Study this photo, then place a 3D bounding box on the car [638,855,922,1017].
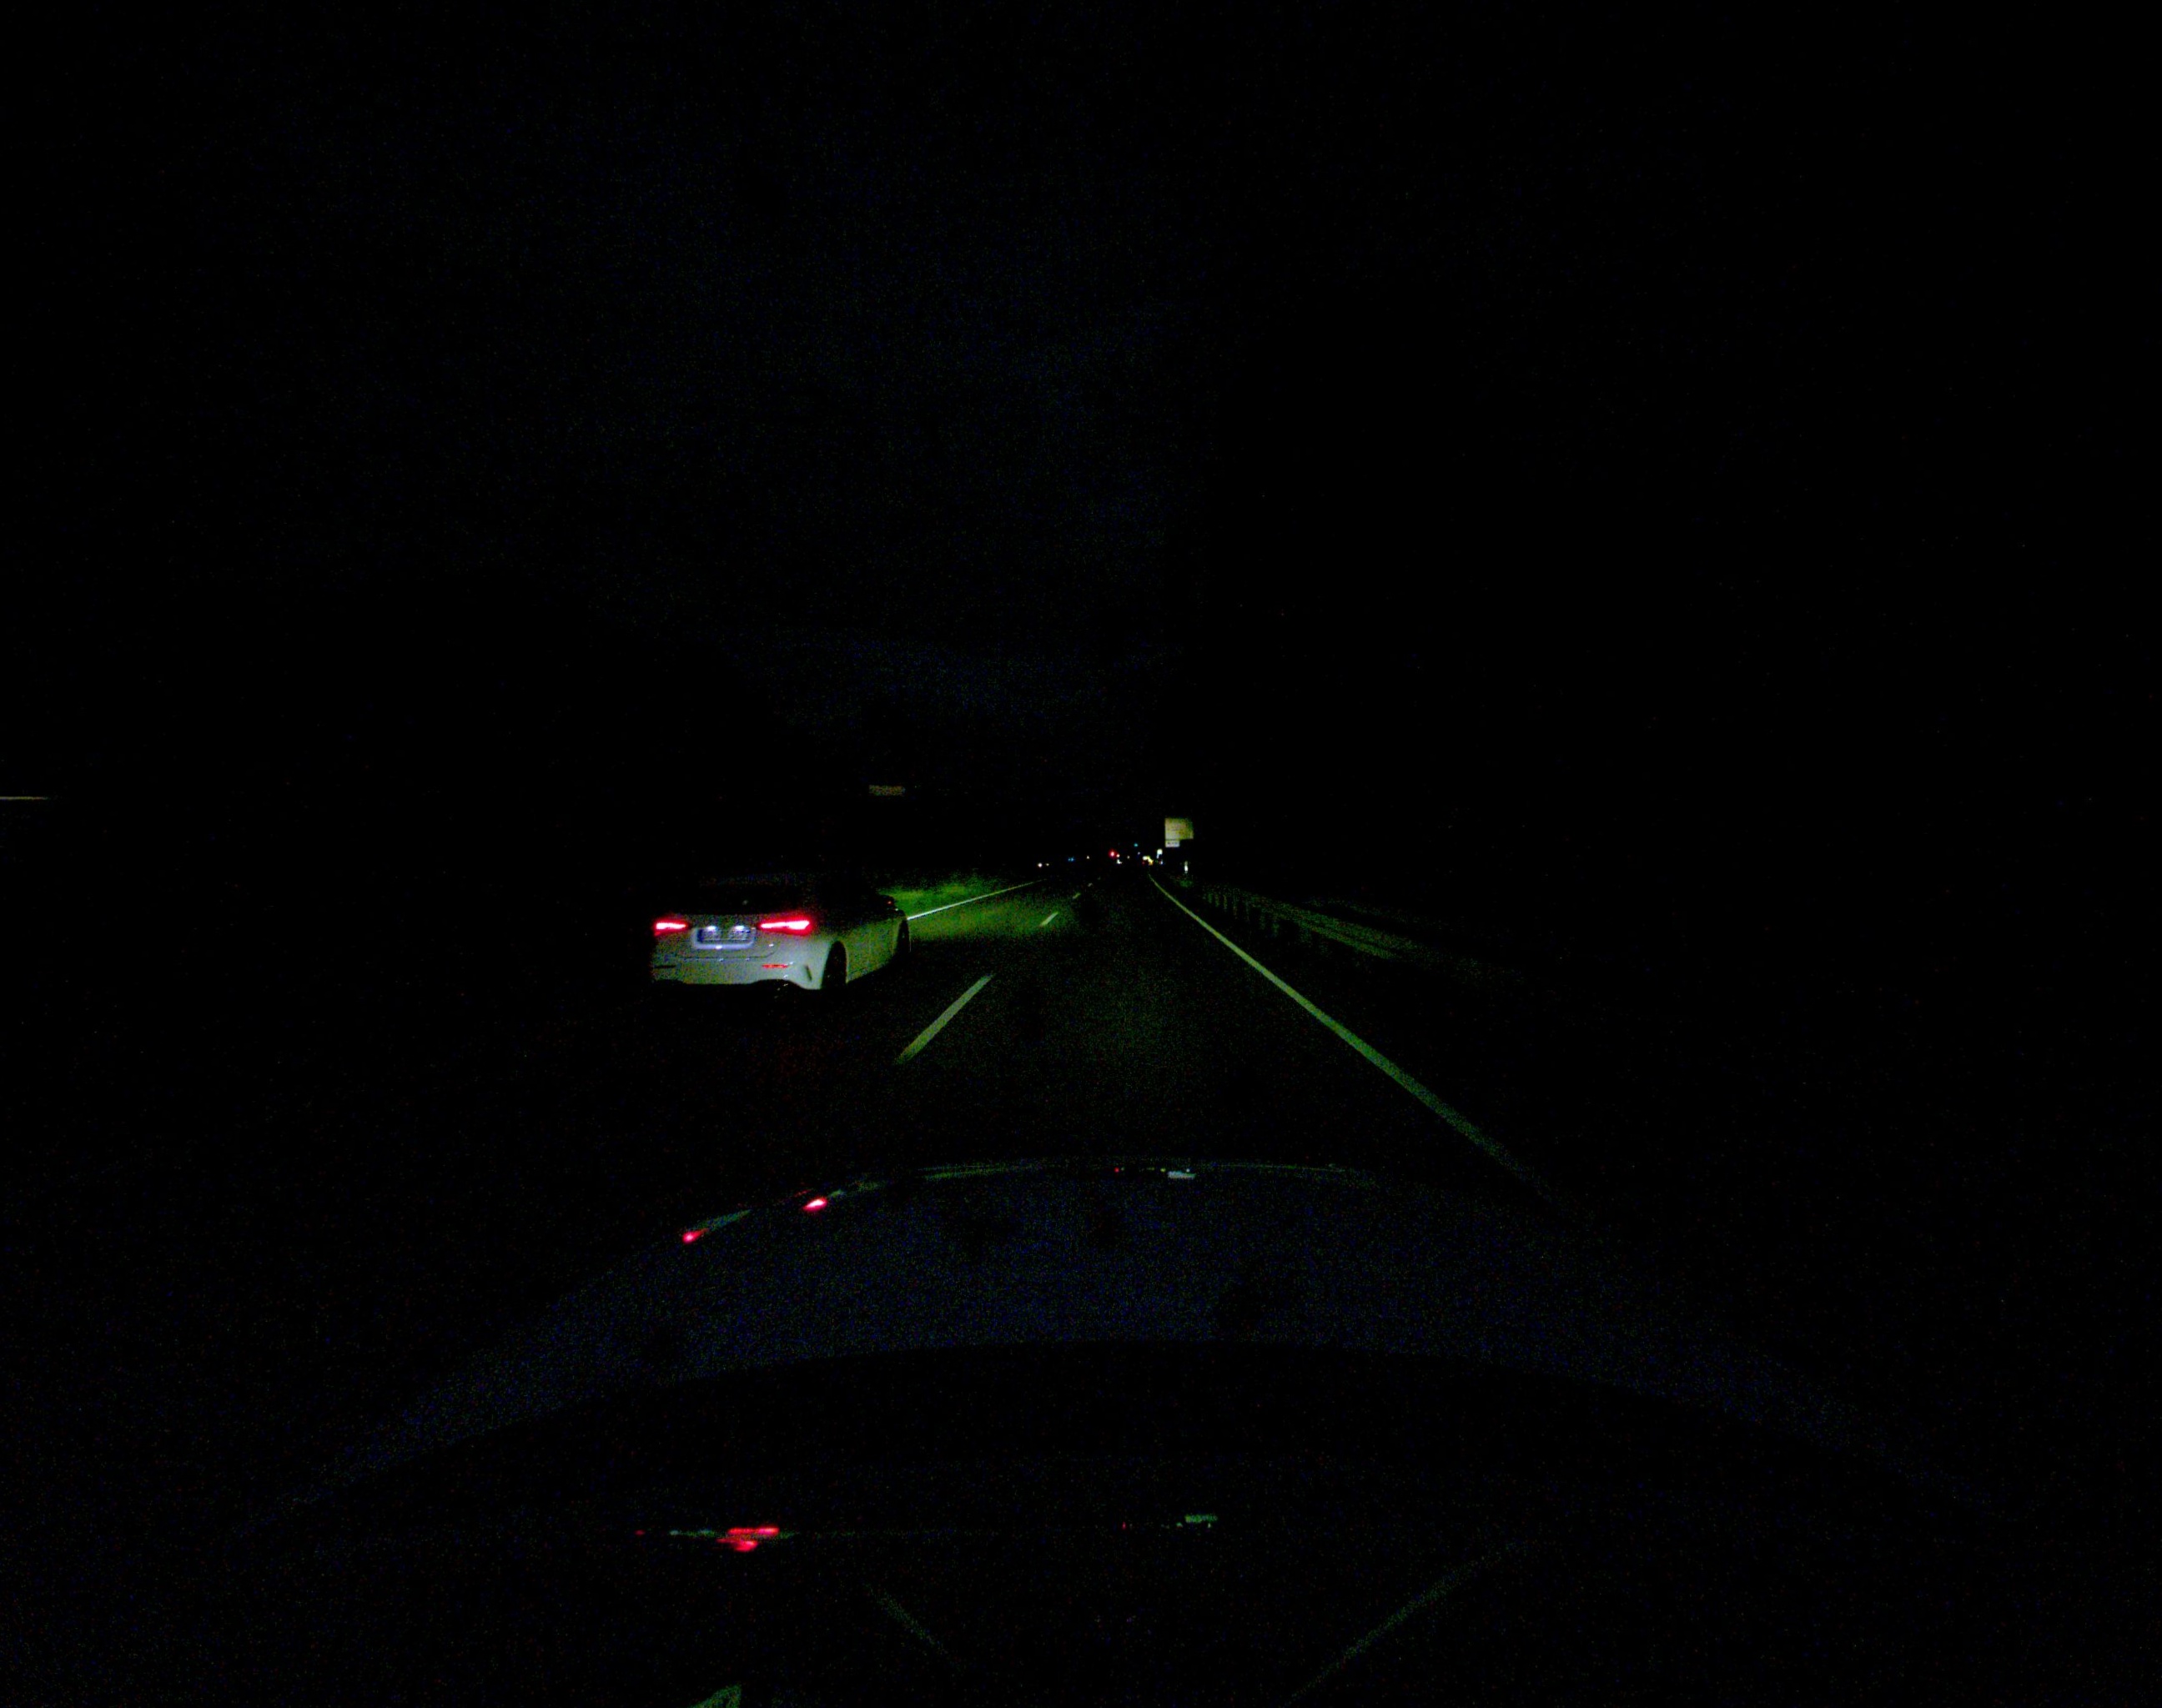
[{"bbox_3d":[-3.249,0.768,9.867,1.636,1.490,4.581,-1,0,1],"label":"car"}]
